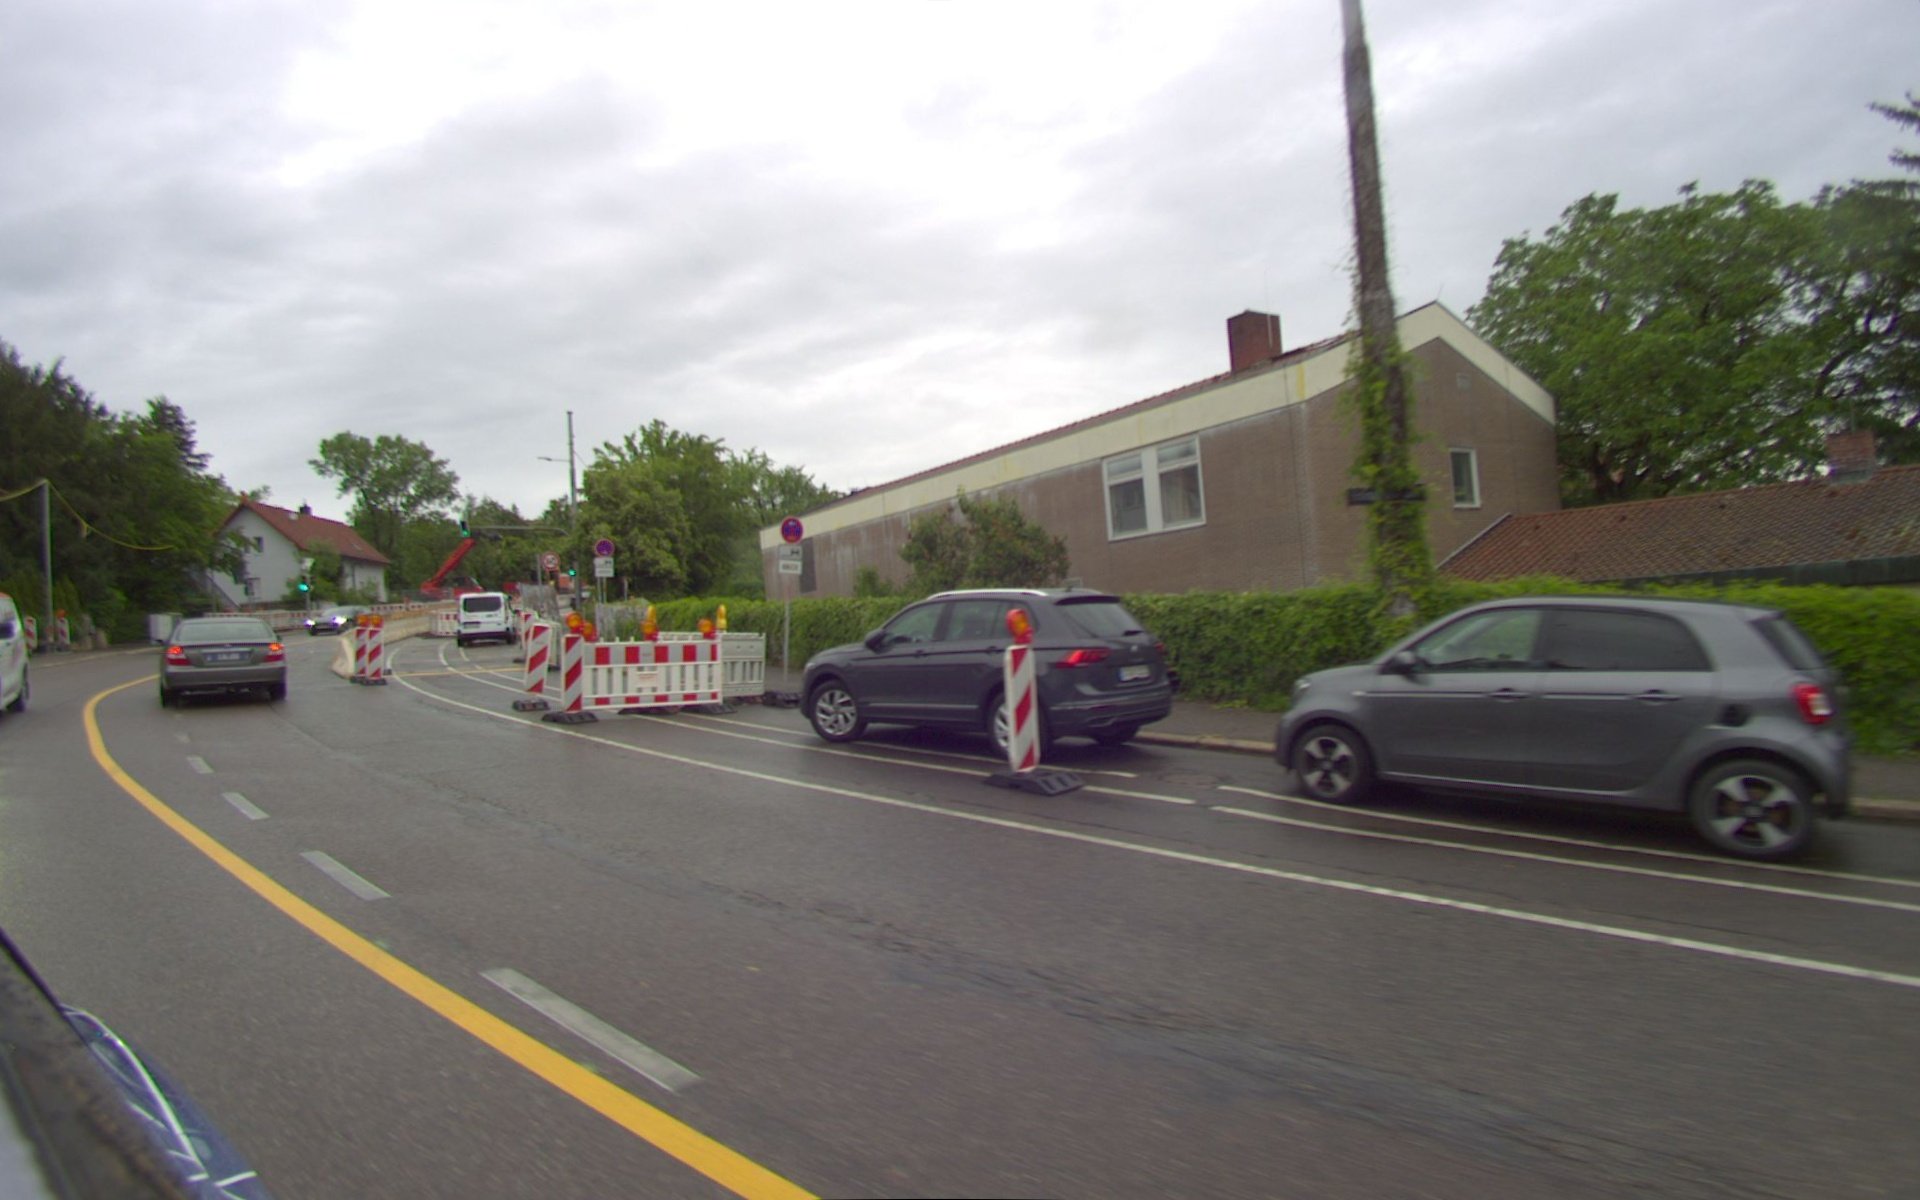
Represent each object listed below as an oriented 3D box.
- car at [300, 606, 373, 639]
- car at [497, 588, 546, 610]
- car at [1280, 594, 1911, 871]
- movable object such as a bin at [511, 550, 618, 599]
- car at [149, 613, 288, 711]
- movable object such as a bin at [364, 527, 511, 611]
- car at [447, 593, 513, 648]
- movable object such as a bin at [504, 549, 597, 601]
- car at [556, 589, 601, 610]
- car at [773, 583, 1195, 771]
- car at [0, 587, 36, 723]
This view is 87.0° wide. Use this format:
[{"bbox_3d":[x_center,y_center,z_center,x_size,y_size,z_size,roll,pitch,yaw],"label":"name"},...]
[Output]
[{"bbox_3d":[-32.321,1.122,52.605,1.957,1.447,4.528,-1,1,-14],"label":"car"},{"bbox_3d":[-33.001,-0.102,76.269,1.960,1.470,4.520,-1,1,-4],"label":"car"},{"bbox_3d":[4.225,0.708,7.091,3.463,1.465,1.558,-1,0,41],"label":"car"},{"bbox_3d":[-44.987,-2.810,115.910,5.198,5.236,13.493,-1,1,10],"label":"movable object such as a bin"},{"bbox_3d":[-13.608,1.038,18.465,1.767,1.502,4.679,-2,0,-39],"label":"car"},{"bbox_3d":[-42.882,-2.509,83.673,8.914,6.601,7.049,-1,1,-7],"label":"movable object such as a bin"},{"bbox_3d":[-17.321,0.697,36.686,1.780,1.814,4.477,-1,0,-21],"label":"car"},{"bbox_3d":[-42.095,-2.543,104.214,8.218,5.092,3.321,-1,1,3],"label":"movable object such as a bin"},{"bbox_3d":[-28.864,-0.081,76.650,1.960,1.470,4.520,-1,1,-4],"label":"car"},{"bbox_3d":[0.085,0.695,10.878,4.460,1.620,1.702,-1,0,41],"label":"car"},{"bbox_3d":[-15.020,0.808,14.513,2.009,1.953,4.526,-2,1,-35],"label":"car"}]
